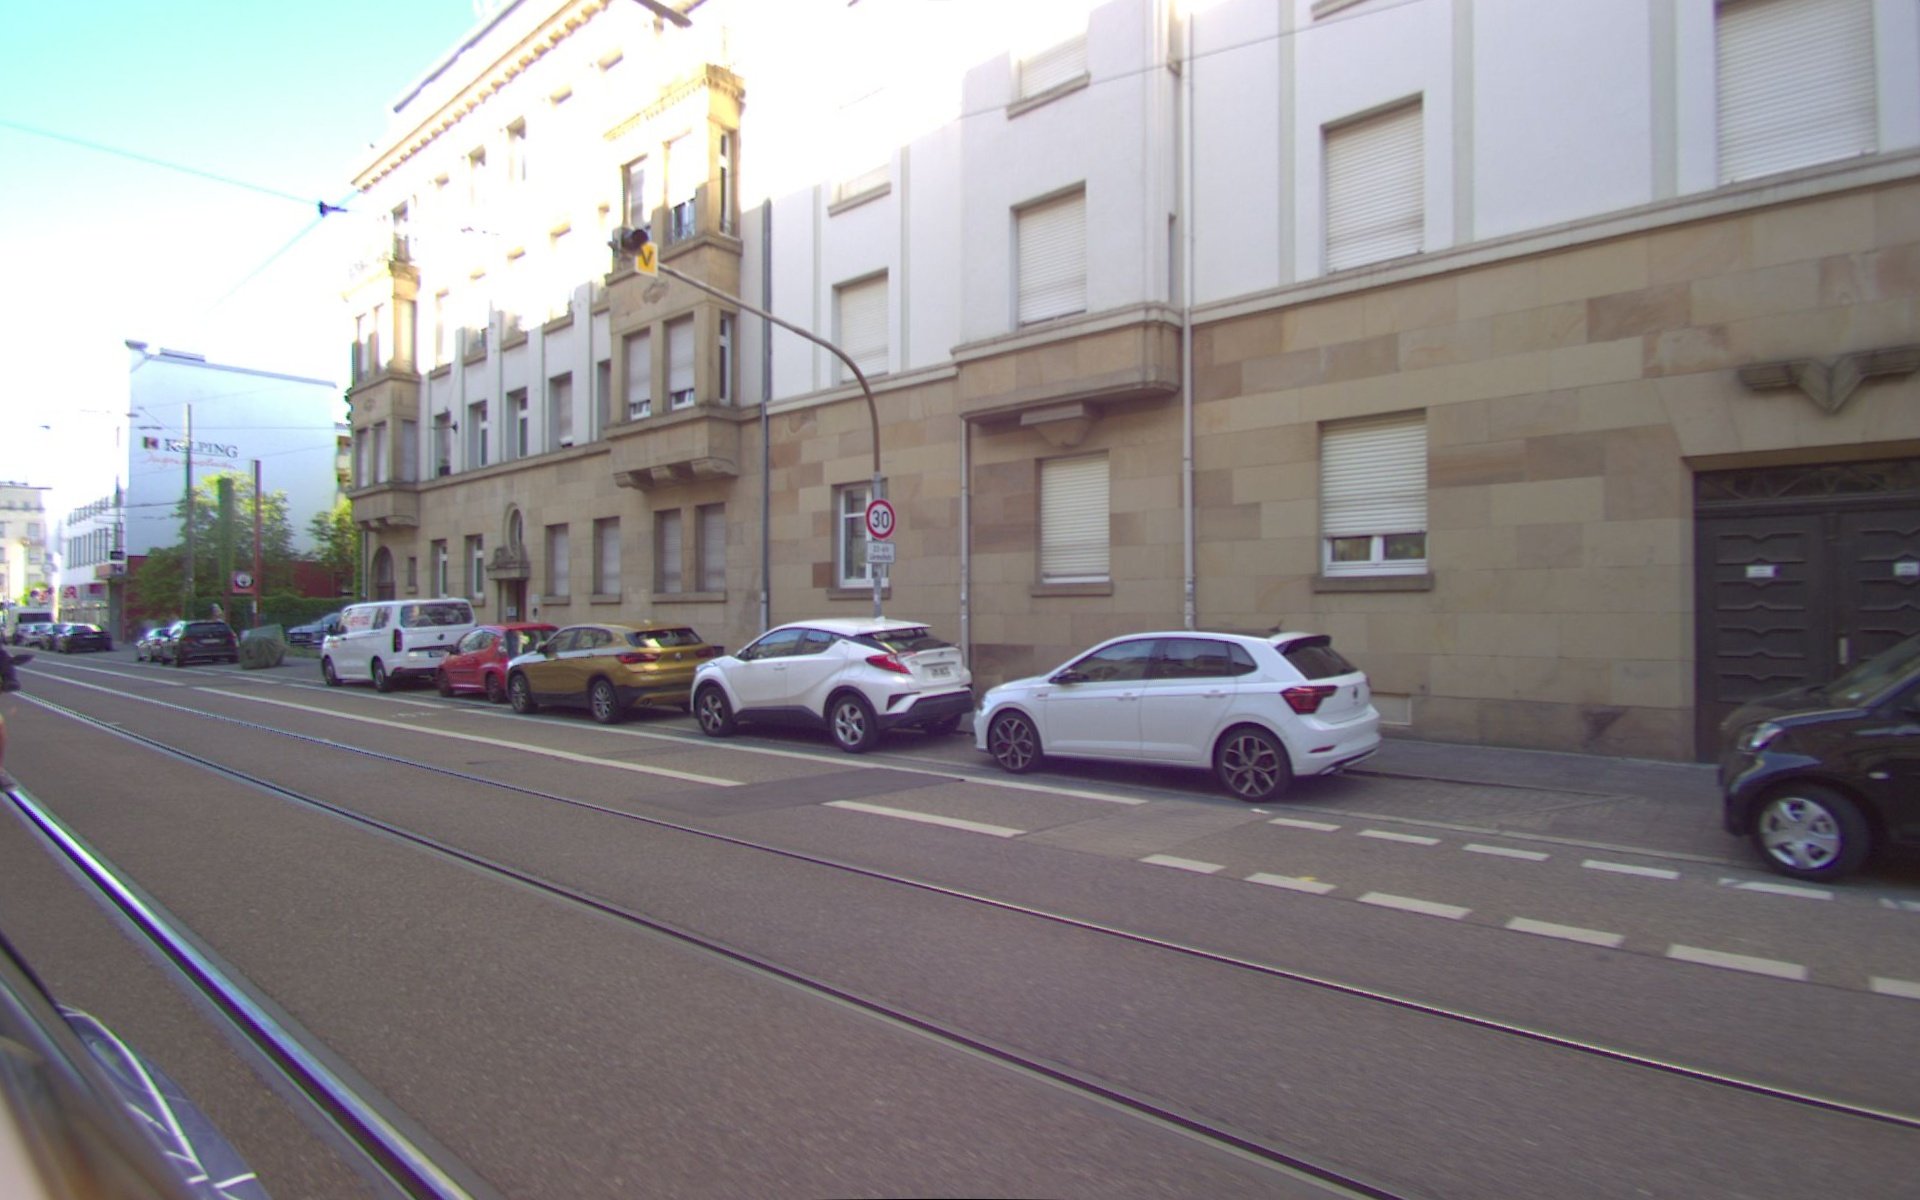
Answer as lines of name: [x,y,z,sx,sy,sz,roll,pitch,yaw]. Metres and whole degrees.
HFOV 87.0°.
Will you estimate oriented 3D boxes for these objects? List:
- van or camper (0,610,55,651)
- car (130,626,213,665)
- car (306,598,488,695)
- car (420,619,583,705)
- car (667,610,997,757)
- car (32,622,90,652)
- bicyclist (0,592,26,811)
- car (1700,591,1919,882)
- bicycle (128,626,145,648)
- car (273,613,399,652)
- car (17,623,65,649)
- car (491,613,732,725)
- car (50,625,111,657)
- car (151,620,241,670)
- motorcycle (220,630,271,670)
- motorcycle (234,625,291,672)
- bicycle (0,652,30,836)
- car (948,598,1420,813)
van or camper: [-61.215,1.947,66.236,6.229,2.485,2.149,-1,1,41]
car: [-30.572,1.714,39.197,4.219,1.323,1.764,-1,1,42]
car: [-13.067,0.997,23.342,5.248,1.963,1.953,-1,1,41]
car: [-9.123,1.156,20.026,3.645,1.484,1.586,-1,1,42]
car: [-1.785,0.960,13.200,4.362,1.558,1.754,-1,1,40]
car: [-49.265,2.012,55.437,4.697,1.492,1.765,-1,1,41]
bicyclist: [-7.309,0.724,7.312,0.939,1.552,0.764,-1,-1,44]
car: [6.254,0.737,5.862,3.018,1.564,1.764,-1,1,42]
bicycle: [-45.767,2.067,56.245,2.050,1.183,0.435,-1,-1,43]
car: [-26.312,1.321,42.885,1.977,1.529,4.785,-1,-1,8]
car: [-55.923,2.155,61.546,4.445,1.409,1.764,-1,1,43]
car: [-5.801,1.026,16.586,4.357,1.535,1.765,-1,1,41]
car: [-44.907,2.051,51.633,4.840,1.456,1.764,-1,1,42]
car: [-26.908,1.516,35.586,4.611,1.577,1.763,-1,1,44]
motorcycle: [-23.070,1.602,32.725,0.729,1.180,2.187,-1,0,-19]
motorcycle: [-21.630,1.489,31.419,0.871,1.361,1.963,-1,0,-16]
bicycle: [-7.329,1.011,7.336,1.753,1.208,0.757,-1,-1,44]
car: [2.050,0.858,9.947,4.175,1.634,1.765,-1,1,40]
